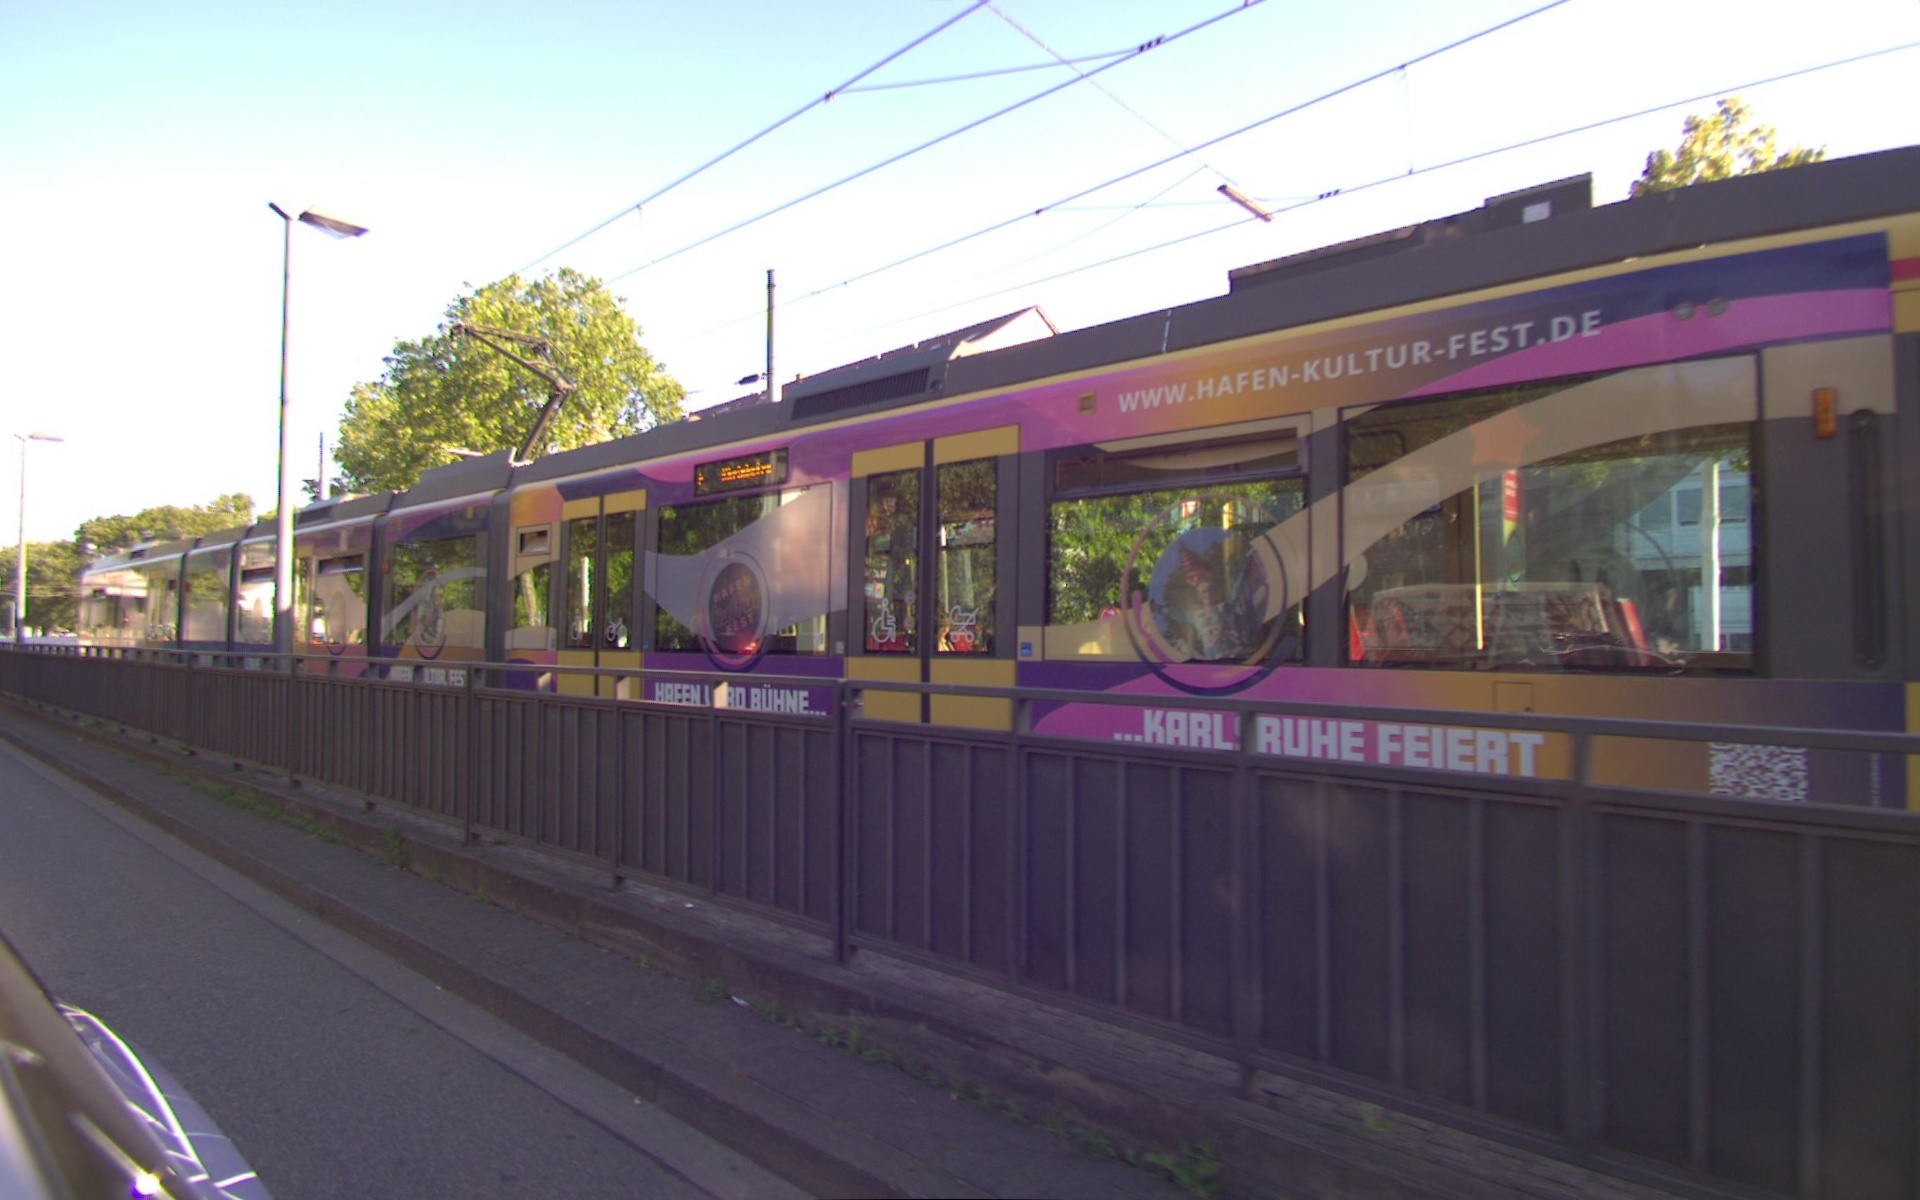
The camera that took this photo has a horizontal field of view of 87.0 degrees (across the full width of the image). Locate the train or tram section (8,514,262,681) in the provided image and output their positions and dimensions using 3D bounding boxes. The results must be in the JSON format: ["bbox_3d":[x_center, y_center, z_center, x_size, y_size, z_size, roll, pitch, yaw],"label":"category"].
[{"bbox_3d":[-21.310,0.085,25.833,10.087,3.544,3.005,-1,-3,40],"label":"train or tram section"}]

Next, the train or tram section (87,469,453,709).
[{"bbox_3d":[-13.559,-0.039,19.355,10.087,3.544,3.005,-1,-3,40],"label":"train or tram section"}]

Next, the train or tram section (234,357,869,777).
[{"bbox_3d":[-5.828,-0.158,12.904,10.087,3.544,3.005,-1,-3,40],"label":"train or tram section"}]

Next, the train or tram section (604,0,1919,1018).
[{"bbox_3d":[1.880,-0.285,6.458,10.087,3.544,3.005,-1,-3,40],"label":"train or tram section"}]
